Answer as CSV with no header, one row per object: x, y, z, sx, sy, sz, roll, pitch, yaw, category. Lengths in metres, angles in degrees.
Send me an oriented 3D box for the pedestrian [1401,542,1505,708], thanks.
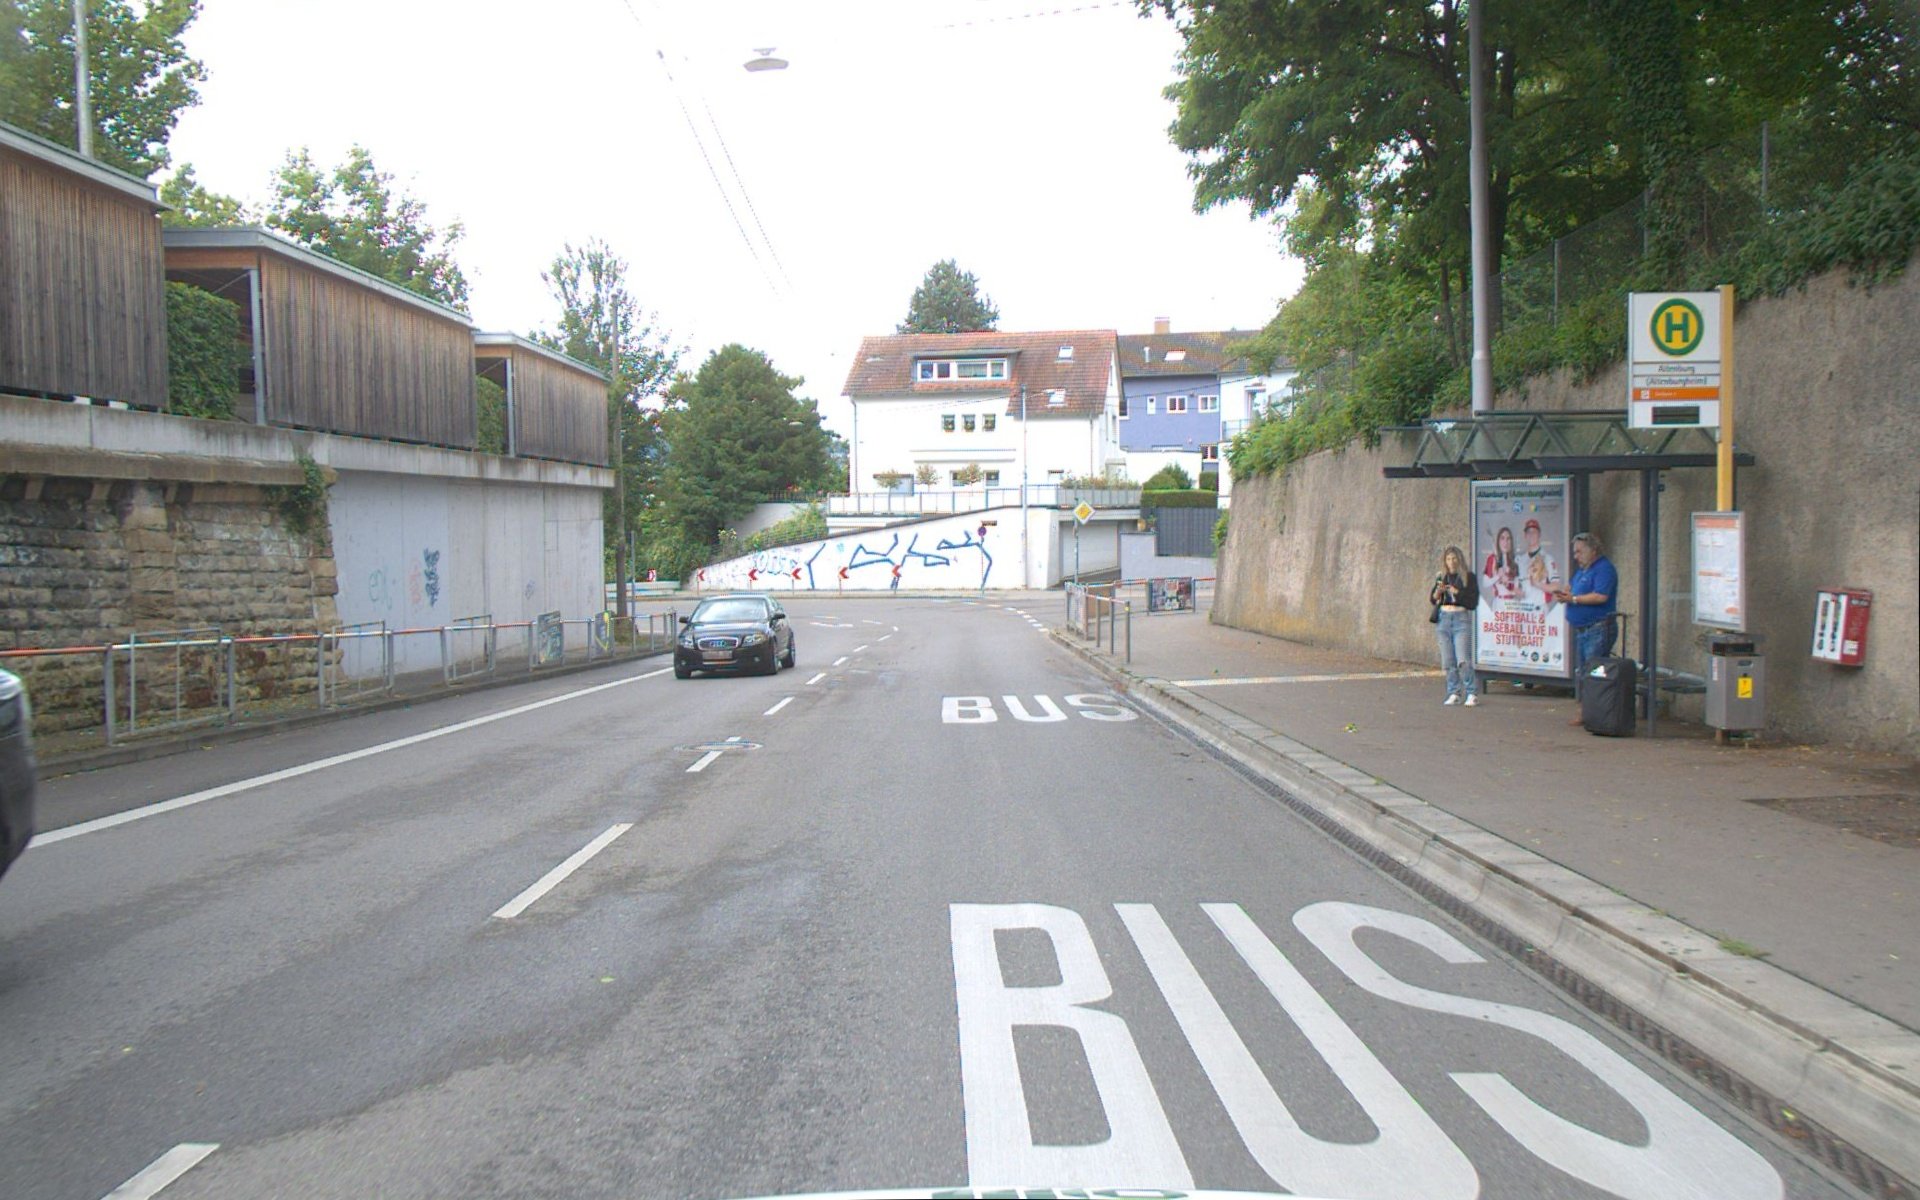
5.006,0.244,16.777,0.724,1.615,0.769,-1,2,40,pedestrian

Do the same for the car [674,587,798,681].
-3.986,0.568,30.017,1.699,1.559,4.000,-1,0,0,car

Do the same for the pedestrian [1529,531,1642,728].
5.459,0.245,14.459,0.707,1.671,0.630,-1,0,-6,pedestrian

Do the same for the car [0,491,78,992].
-4.327,0.522,4.181,1.856,1.787,4.436,-1,0,-1,car

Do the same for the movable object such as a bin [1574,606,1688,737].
5.592,0.584,13.802,0.661,1.038,0.626,-1,1,-6,movable object such as a bin
